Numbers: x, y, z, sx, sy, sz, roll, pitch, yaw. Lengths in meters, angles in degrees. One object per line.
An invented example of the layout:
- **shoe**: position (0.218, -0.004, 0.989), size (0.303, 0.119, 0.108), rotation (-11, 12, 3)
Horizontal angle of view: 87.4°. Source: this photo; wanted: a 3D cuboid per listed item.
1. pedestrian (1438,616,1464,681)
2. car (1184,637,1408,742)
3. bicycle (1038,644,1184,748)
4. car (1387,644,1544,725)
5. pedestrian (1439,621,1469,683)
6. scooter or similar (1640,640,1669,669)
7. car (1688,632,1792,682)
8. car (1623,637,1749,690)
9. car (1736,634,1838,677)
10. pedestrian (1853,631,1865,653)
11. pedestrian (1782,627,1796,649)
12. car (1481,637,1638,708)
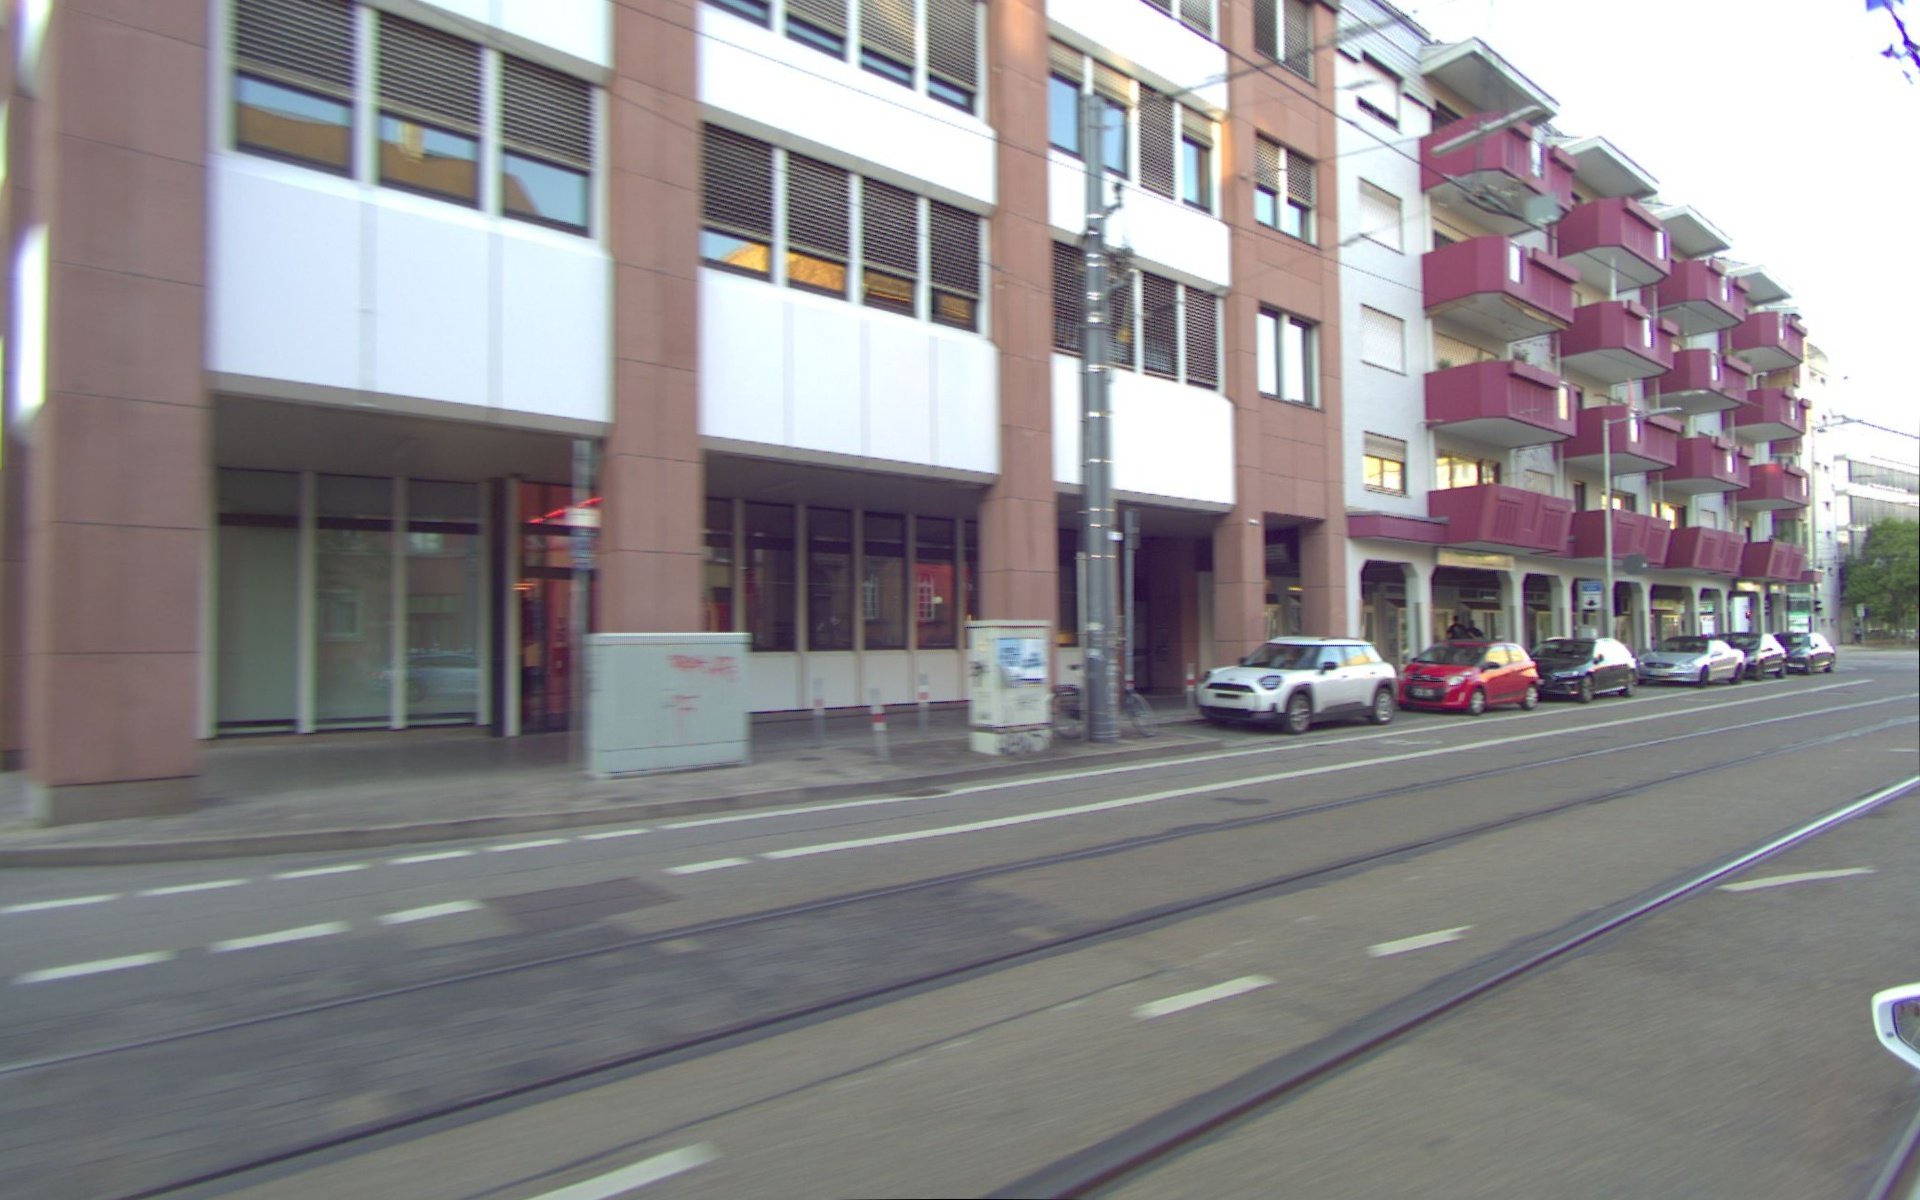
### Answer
- **pedestrian**: position (15.586, 1.526, 31.886), size (0.524, 2.040, 0.518), rotation (1, -3, -43)
- **car**: position (5.892, 1.443, 17.404), size (4.166, 1.576, 1.704), rotation (1, -2, -38)
- **bicycle**: position (2.230, 1.359, 14.682), size (2.232, 1.396, 0.605), rotation (1, -2, -31)
- **car**: position (10.580, 1.693, 20.953), size (3.447, 1.499, 1.599), rotation (2, -1, -37)
- **pedestrian**: position (15.199, 1.601, 30.914), size (0.519, 1.897, 0.614), rotation (0, -2, -18)
- **scooter or similar**: position (29.123, 2.293, 42.131), size (1.466, 1.181, 0.545), rotation (1, -3, -38)
- **car**: position (26.007, 1.857, 33.458), size (4.163, 1.528, 1.775), rotation (2, -2, -38)
- **car**: position (21.494, 1.822, 29.679), size (4.632, 1.432, 1.680), rotation (1, -1, -36)
- **car**: position (30.563, 1.999, 37.071), size (5.040, 1.476, 1.838), rotation (2, -3, -38)
- **pedestrian**: position (78.077, 3.634, 87.265), size (0.544, 1.947, 0.656), rotation (1, -3, -42)
- **pedestrian**: position (63.347, 2.903, 76.769), size (0.650, 1.733, 0.545), rotation (0, -2, -21)
- **car**: position (14.592, 1.675, 24.362), size (4.446, 1.499, 1.976), rotation (2, -1, -41)
